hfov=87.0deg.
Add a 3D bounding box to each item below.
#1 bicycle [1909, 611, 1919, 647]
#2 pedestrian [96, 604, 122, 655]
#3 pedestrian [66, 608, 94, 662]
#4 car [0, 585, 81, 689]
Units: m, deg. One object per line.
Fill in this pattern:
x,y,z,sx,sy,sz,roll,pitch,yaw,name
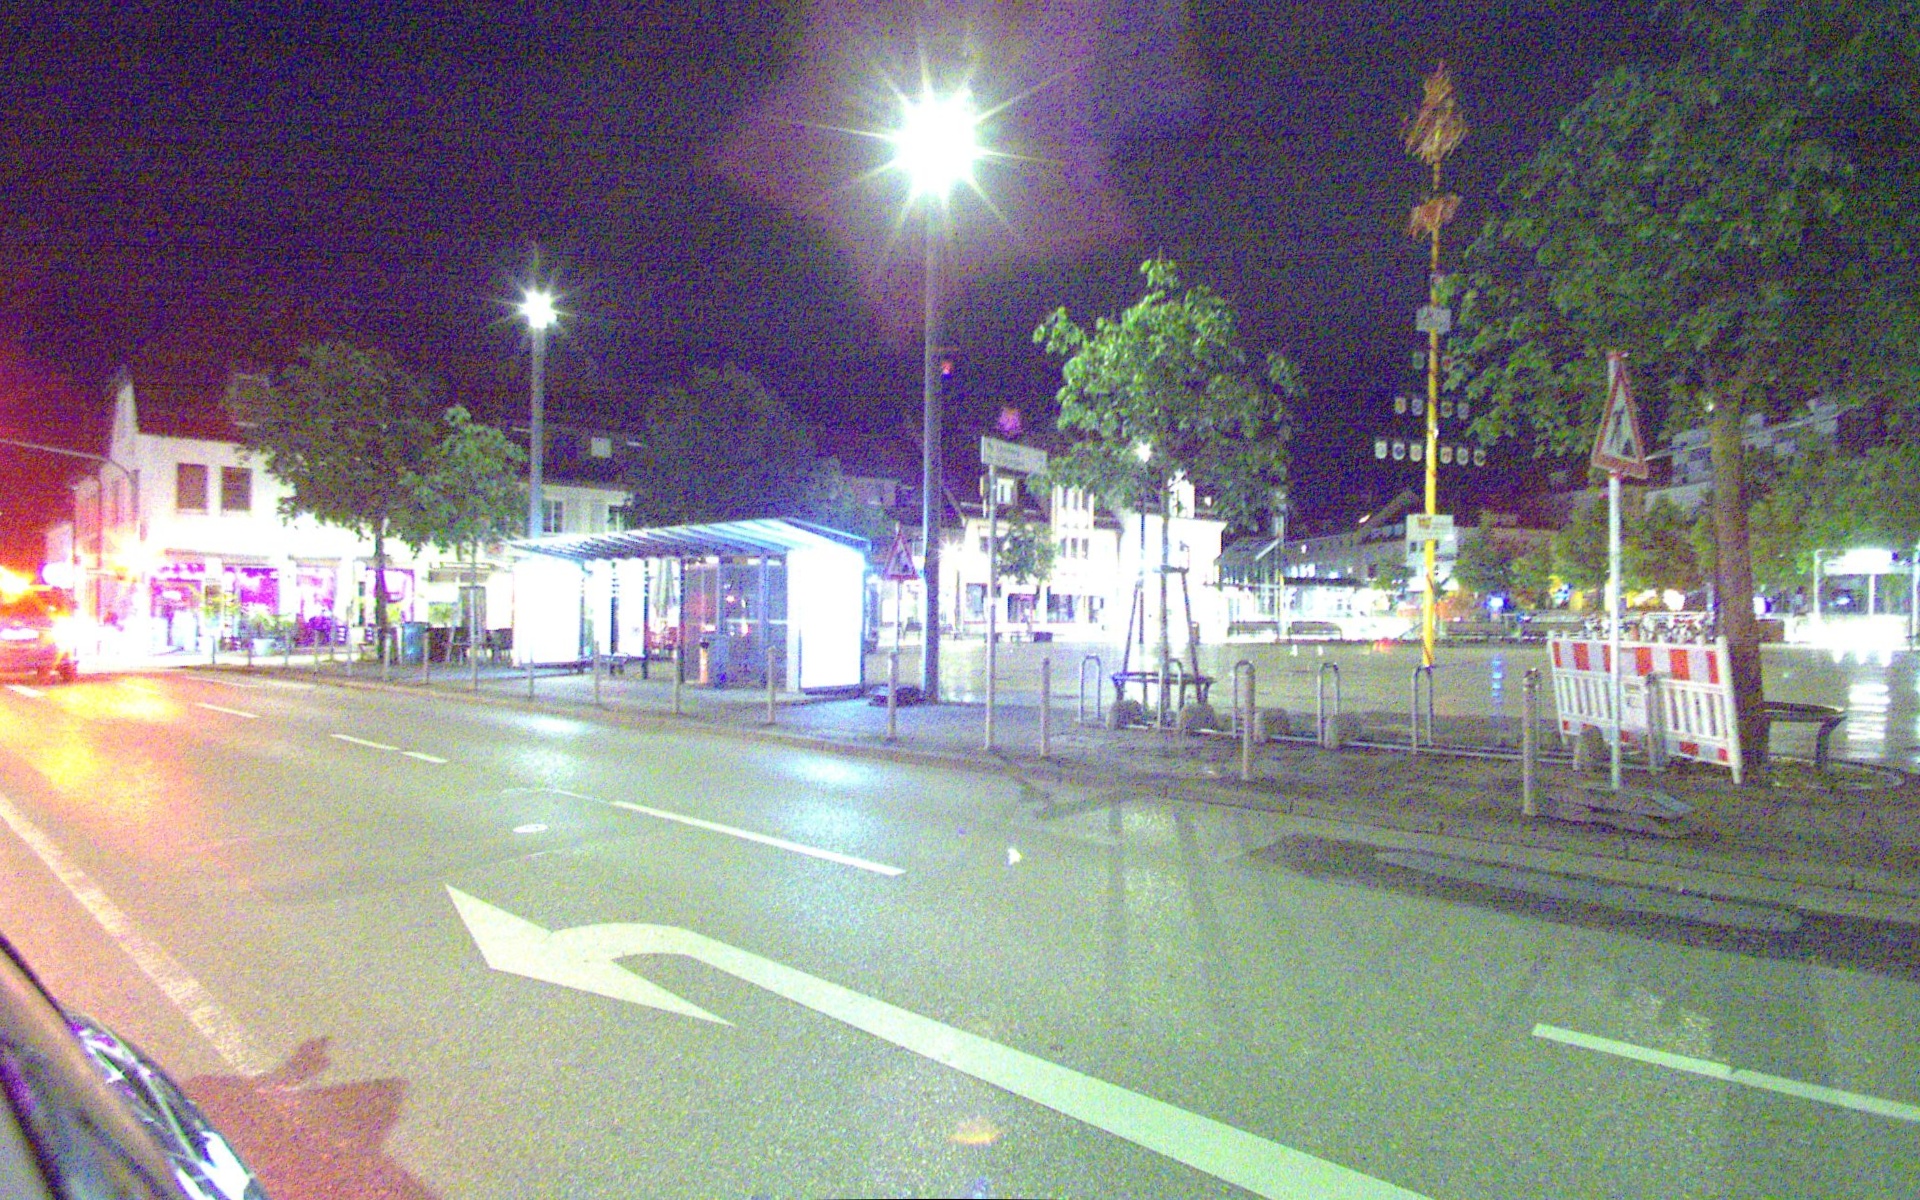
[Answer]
26.409,0.765,26.971,1.525,0.965,0.476,-1,0,25,bicycle
-27.665,0.958,32.899,0.637,1.640,0.584,-1,0,-39,pedestrian
-27.245,1.083,31.345,0.637,1.640,0.584,-1,0,-41,pedestrian
-19.145,0.690,20.074,4.910,1.886,1.946,-1,-1,41,car
